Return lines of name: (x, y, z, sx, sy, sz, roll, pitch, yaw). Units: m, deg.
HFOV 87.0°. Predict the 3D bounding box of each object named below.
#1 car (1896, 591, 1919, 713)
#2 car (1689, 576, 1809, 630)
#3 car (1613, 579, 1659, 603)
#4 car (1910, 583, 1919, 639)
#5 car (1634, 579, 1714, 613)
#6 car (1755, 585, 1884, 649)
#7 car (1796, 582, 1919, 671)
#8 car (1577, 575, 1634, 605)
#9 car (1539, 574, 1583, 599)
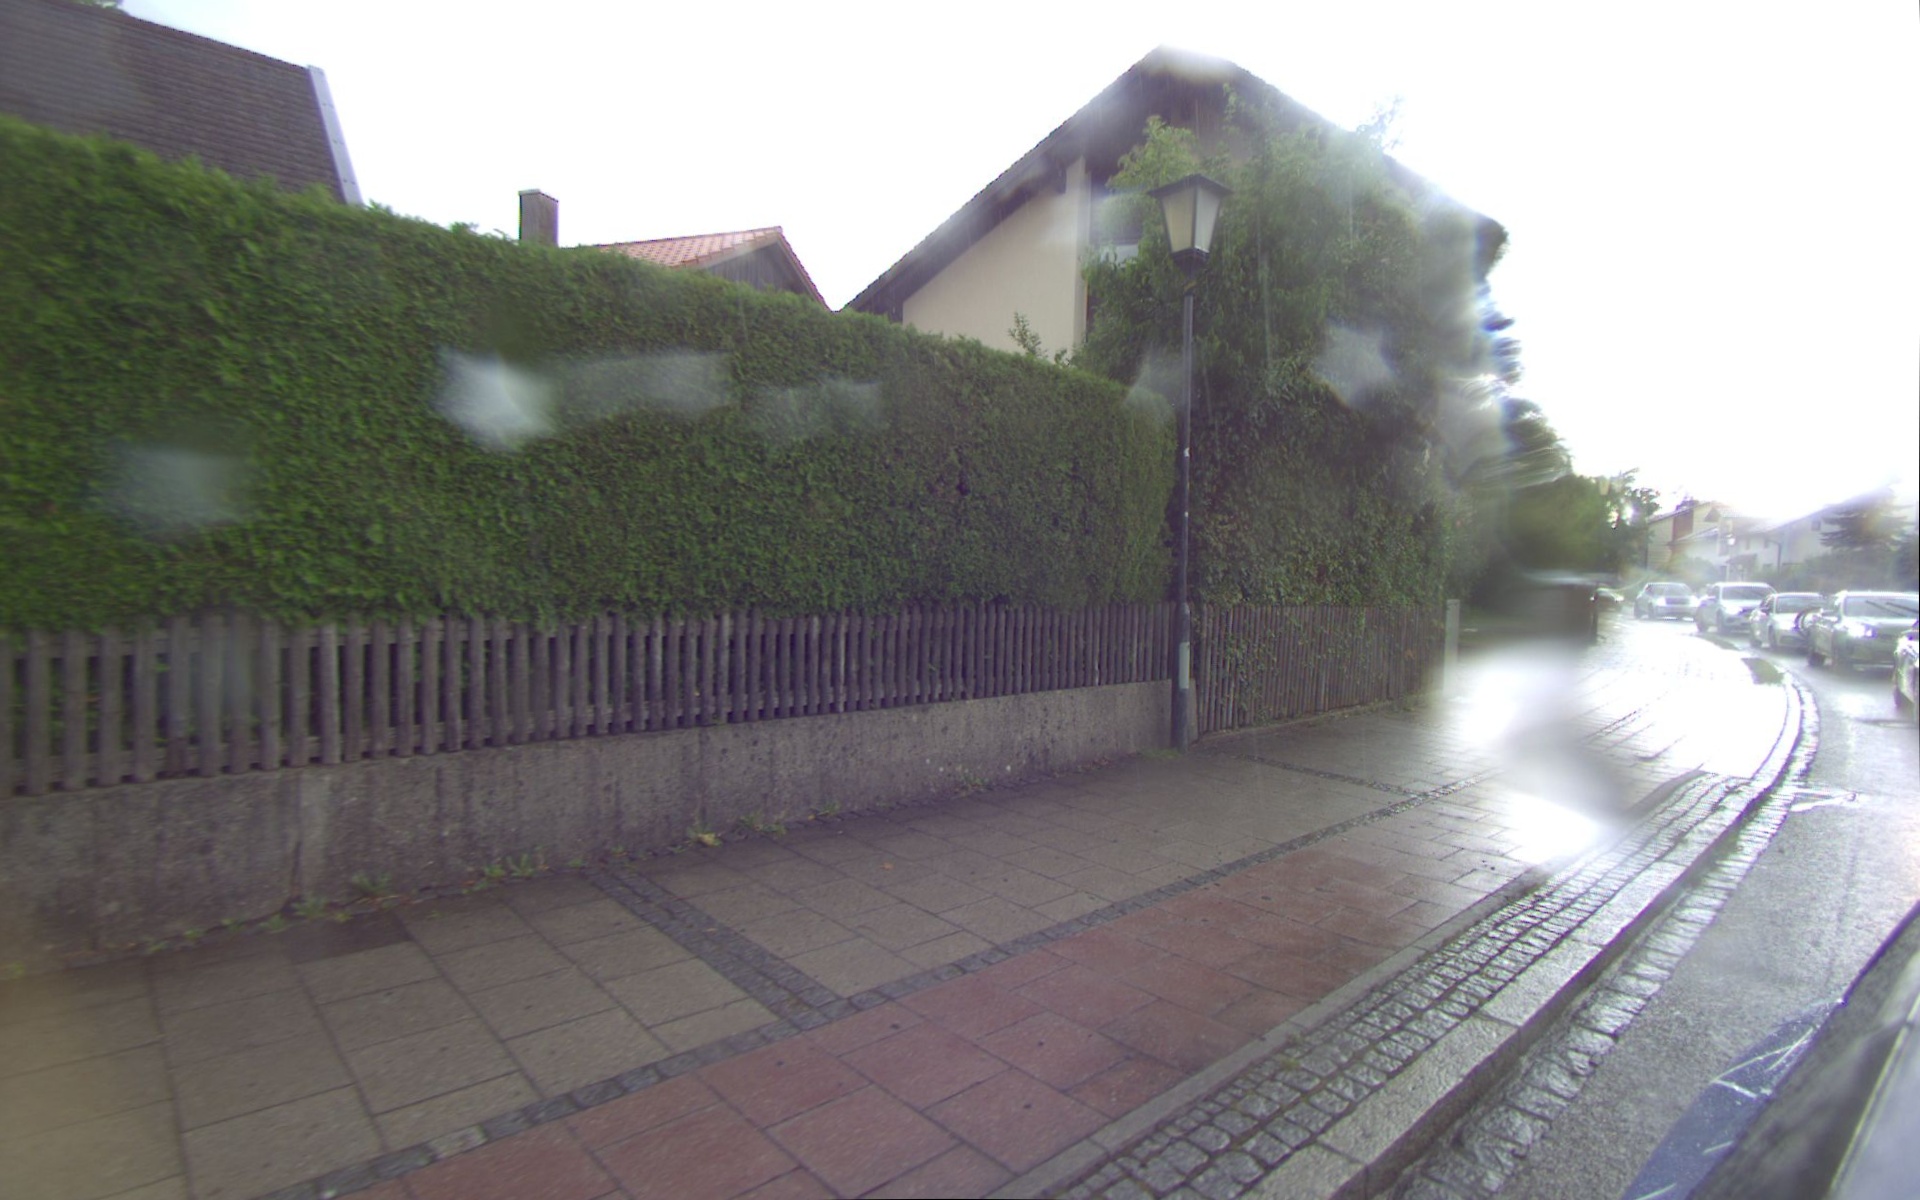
car: (12.222, 0.615, 11.659, 1.786, 1.412, 4.222, 0, 1, 38)
car: (24.810, 0.053, 31.996, 1.773, 1.568, 4.252, 0, 1, 21)
car: (45.835, -0.641, 68.721, 1.774, 1.568, 4.250, 0, 1, 22)
car: (27.837, 0.323, 27.387, 1.980, 1.615, 4.152, 0, 0, 27)
car: (30.736, -0.175, 43.671, 1.773, 1.390, 4.252, 0, 1, 21)
car: (20.994, 0.356, 24.889, 1.781, 1.412, 4.233, 0, 1, 32)
car: (17.603, 0.412, 19.328, 1.781, 1.497, 5.325, 0, 1, 32)
car: (35.342, -0.572, 55.473, 1.773, 1.568, 4.252, 0, 1, 21)
car: (39.644, -0.913, 66.884, 1.773, 1.568, 4.252, 0, 1, 21)
